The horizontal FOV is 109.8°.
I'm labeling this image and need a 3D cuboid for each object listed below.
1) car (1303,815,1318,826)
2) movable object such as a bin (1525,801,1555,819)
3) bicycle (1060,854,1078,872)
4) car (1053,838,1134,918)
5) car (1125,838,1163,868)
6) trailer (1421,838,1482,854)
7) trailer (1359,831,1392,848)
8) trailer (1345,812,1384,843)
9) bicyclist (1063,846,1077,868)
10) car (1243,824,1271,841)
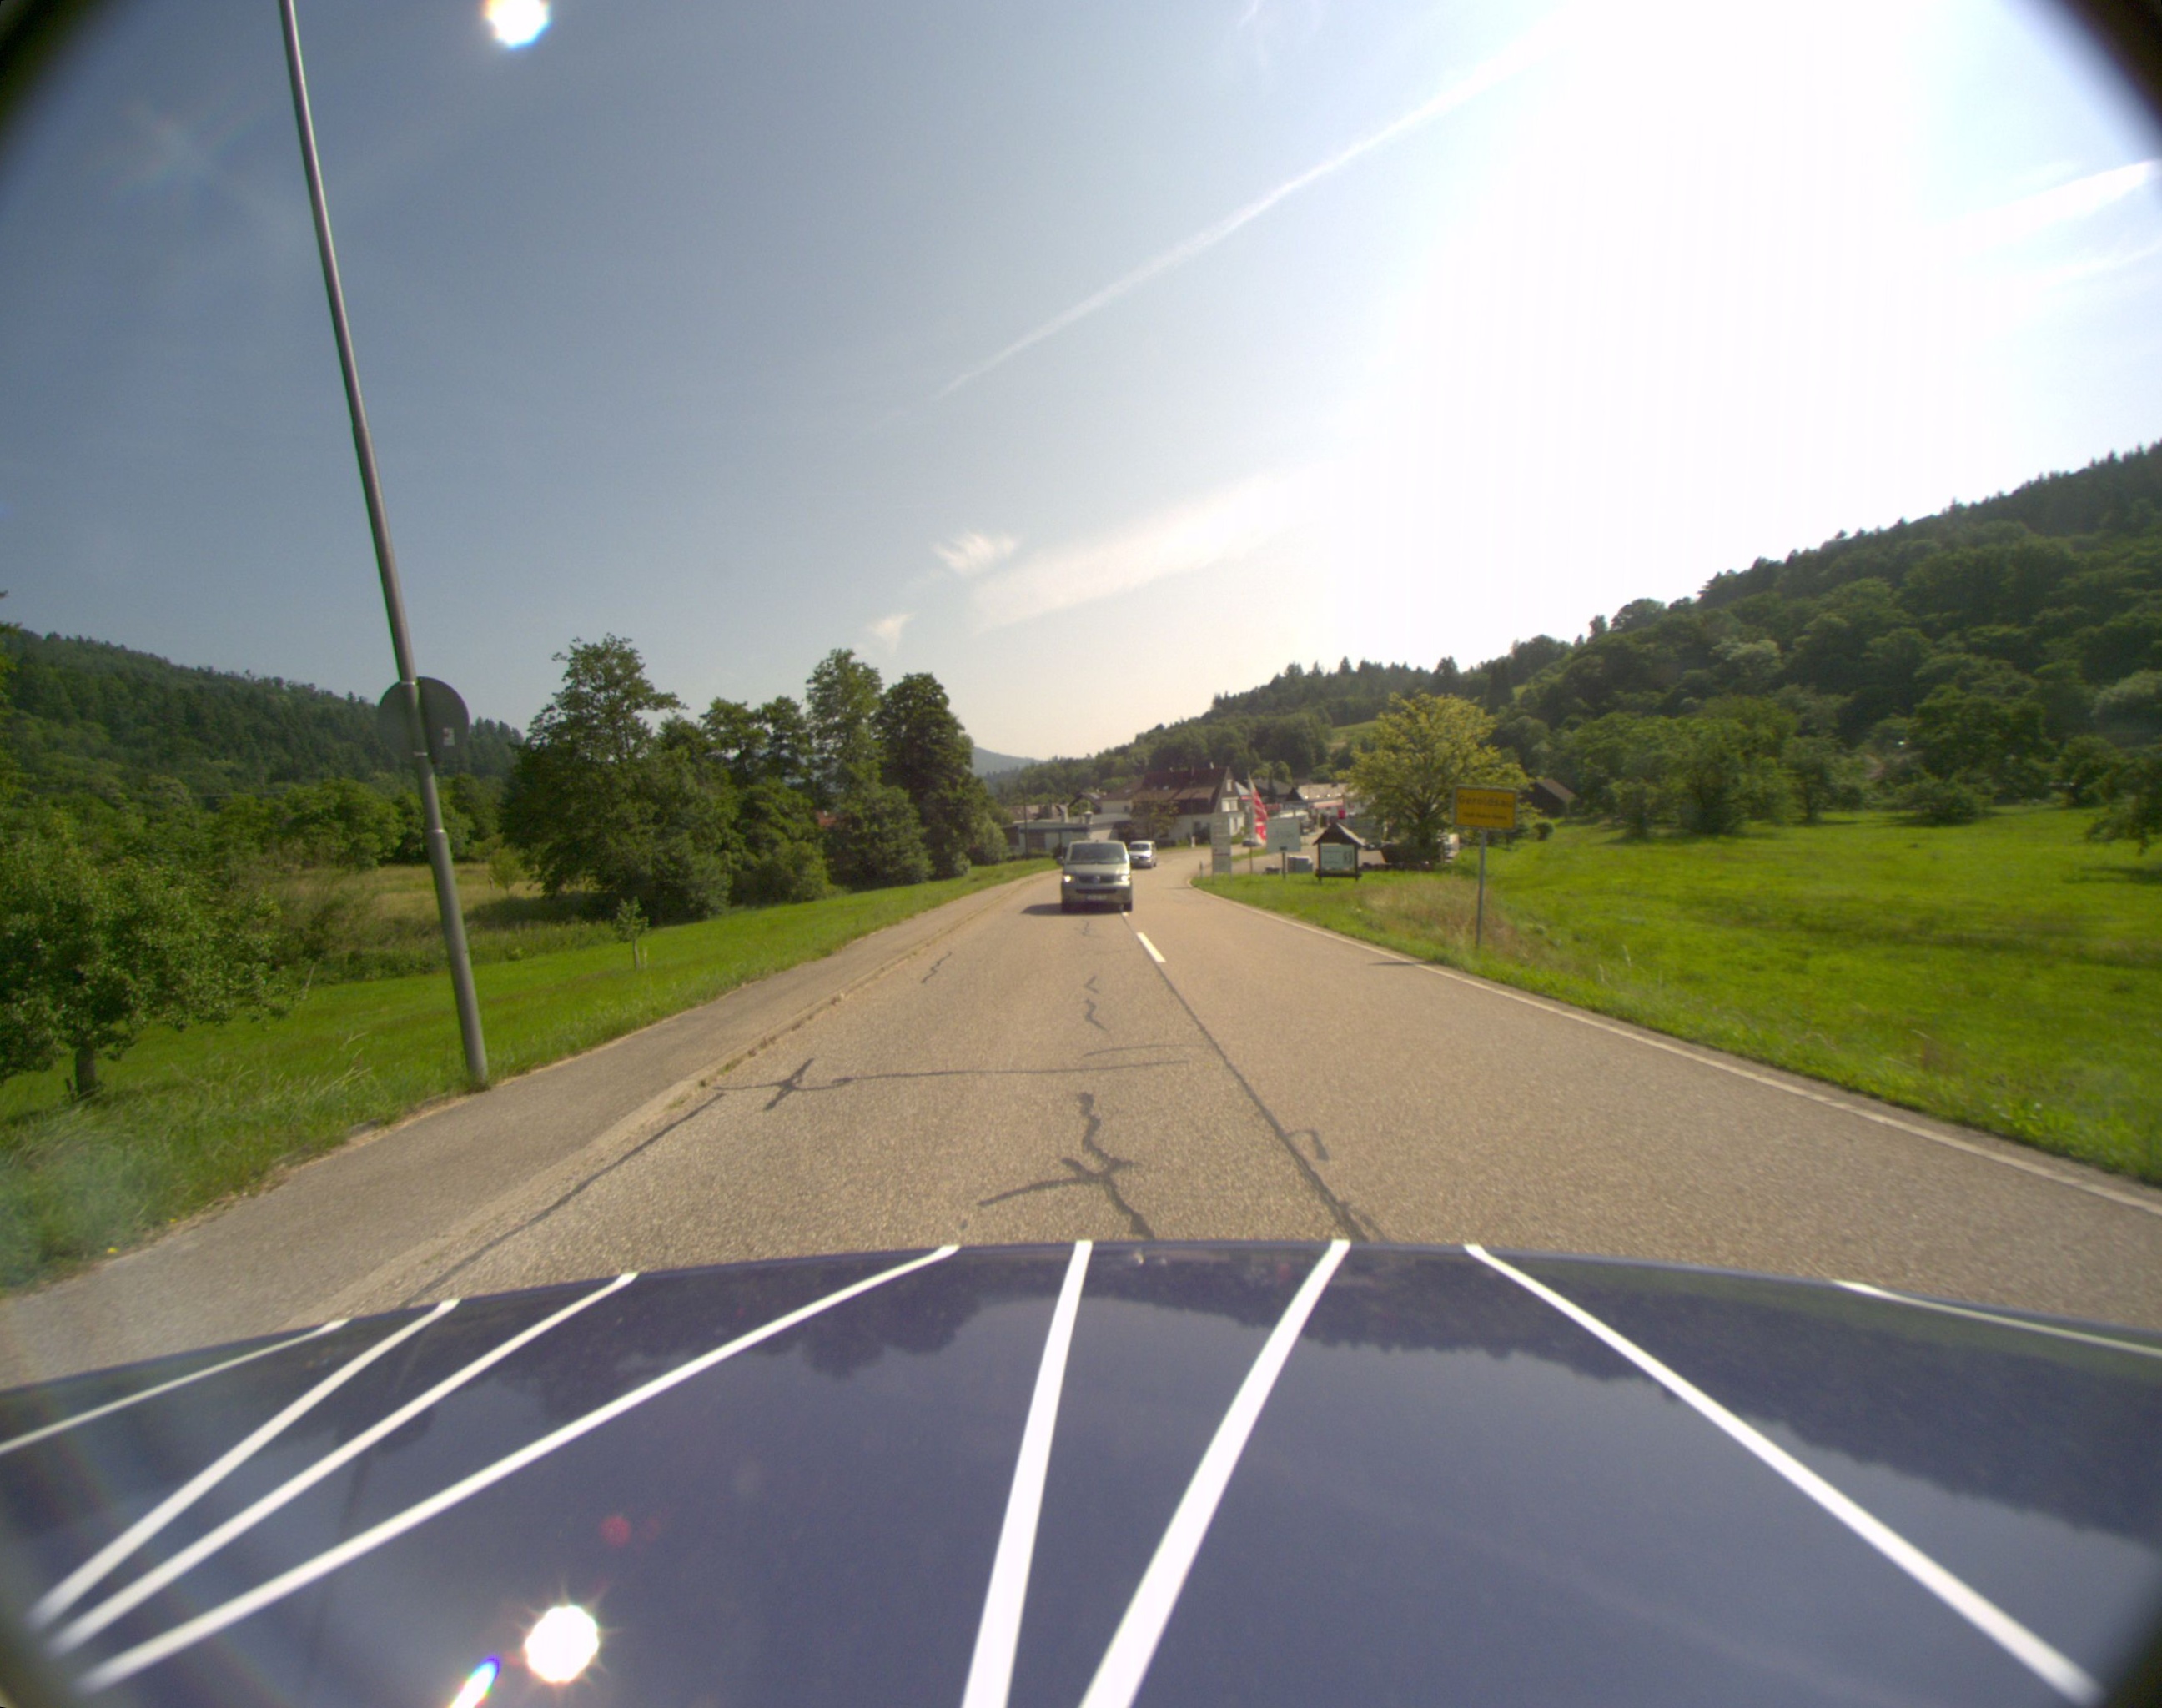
[{"bbox_3d":[44.674,-6.599,148.032,1.681,1.806,4.005,-2,4,34],"label":"car"},{"bbox_3d":[85.802,-8.304,142.066,2.206,3.121,4.181,-5,4,-41],"label":"movable object such as a bin"},{"bbox_3d":[-0.739,0.540,47.375,0.580,1.029,1.992,2,3,16],"label":"bicycle"},{"bbox_3d":[0.365,0.629,21.716,2.024,1.970,5.049,1,0,1],"label":"car"},{"bbox_3d":[4.615,-0.106,55.370,1.894,1.847,4.706,-1,3,15],"label":"car"},{"bbox_3d":[27.940,-0.579,57.296,3.935,0.934,1.870,-2,4,32],"label":"trailer"},{"bbox_3d":[27.702,-1.344,71.350,1.995,1.220,5.553,-2,3,30],"label":"trailer"},{"bbox_3d":[28.631,-2.700,76.807,3.394,2.896,1.886,-2,3,27],"label":"trailer"},{"bbox_3d":[-0.673,0.175,47.289,0.580,1.335,1.146,2,4,16],"label":"bicyclist"},{"bbox_3d":[21.253,-2.581,91.665,1.763,1.737,3.985,-1,5,36],"label":"car"}]
